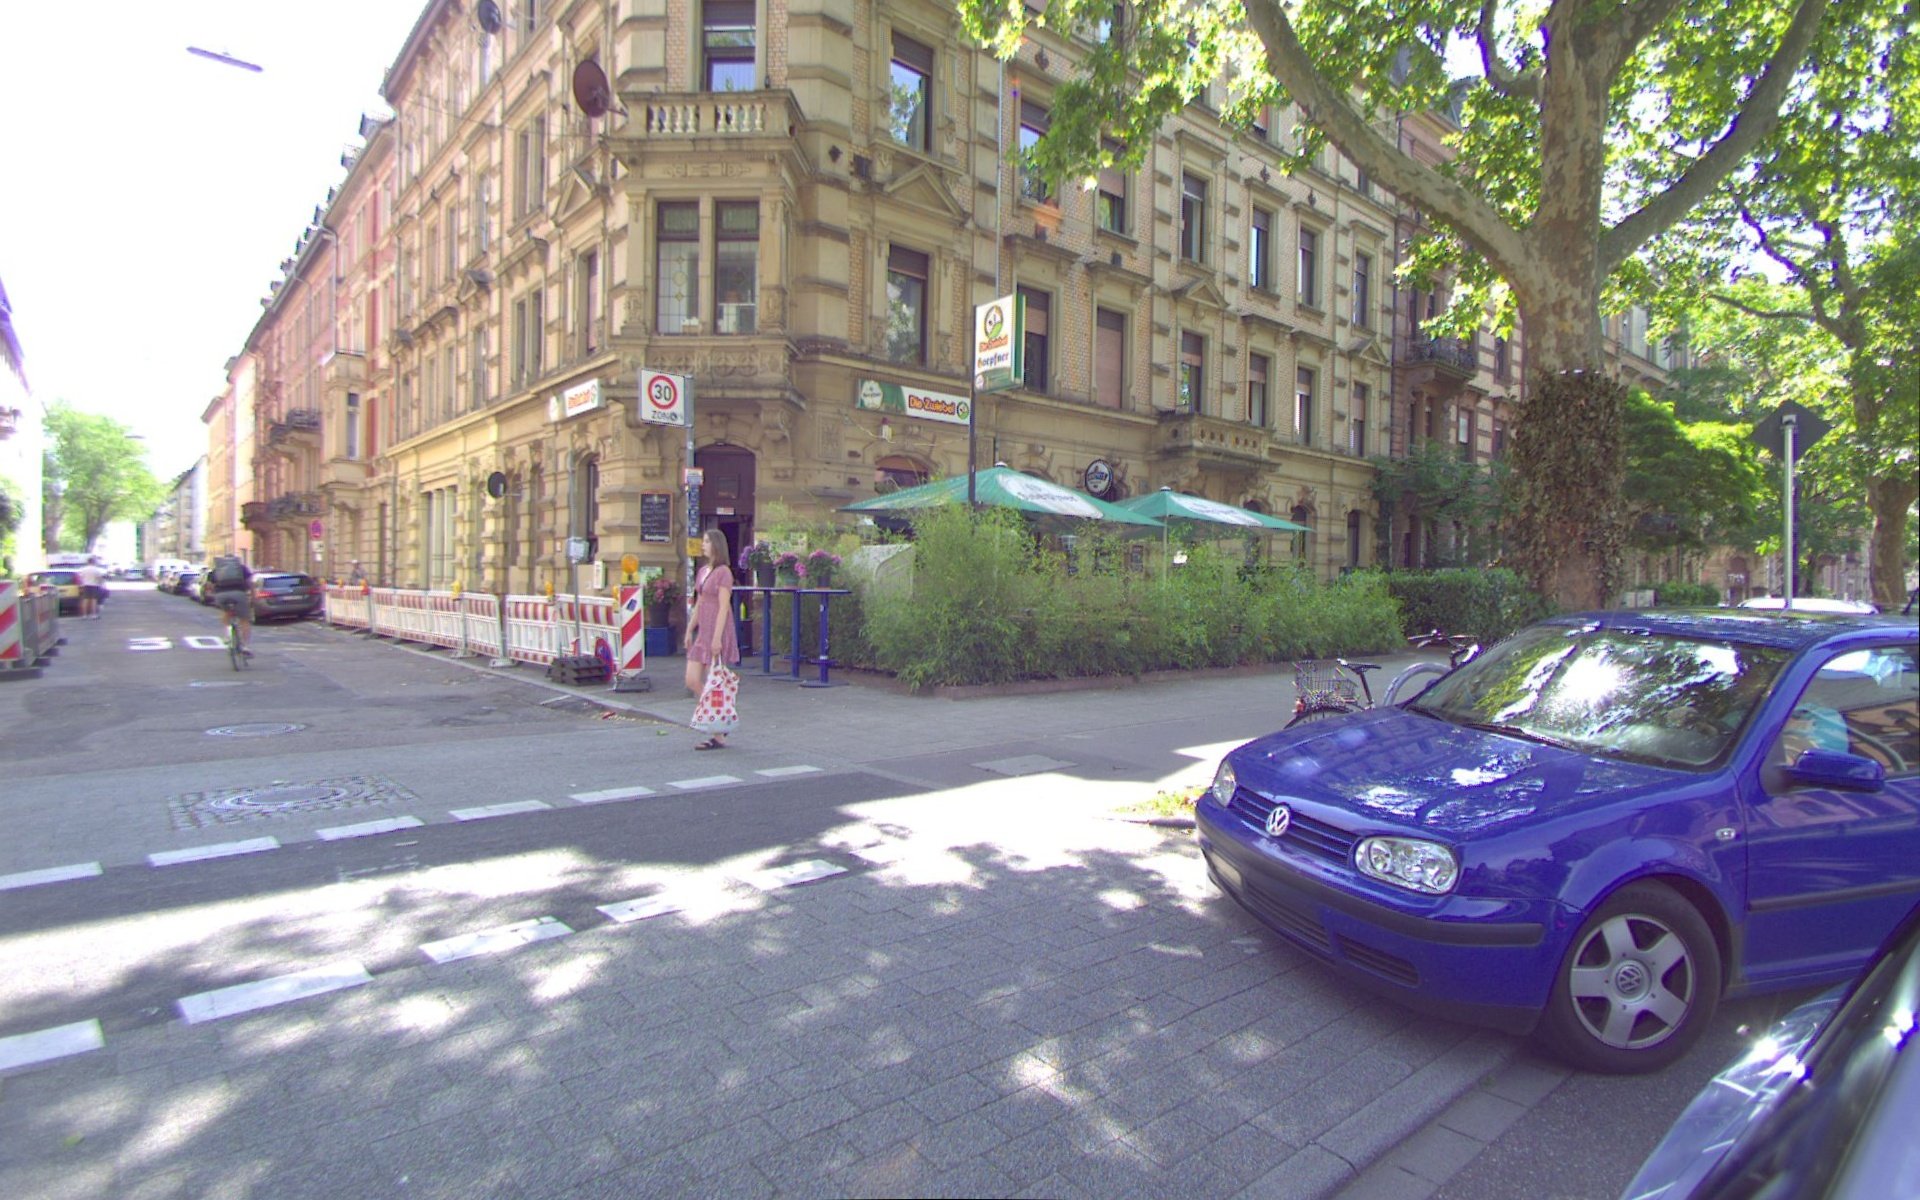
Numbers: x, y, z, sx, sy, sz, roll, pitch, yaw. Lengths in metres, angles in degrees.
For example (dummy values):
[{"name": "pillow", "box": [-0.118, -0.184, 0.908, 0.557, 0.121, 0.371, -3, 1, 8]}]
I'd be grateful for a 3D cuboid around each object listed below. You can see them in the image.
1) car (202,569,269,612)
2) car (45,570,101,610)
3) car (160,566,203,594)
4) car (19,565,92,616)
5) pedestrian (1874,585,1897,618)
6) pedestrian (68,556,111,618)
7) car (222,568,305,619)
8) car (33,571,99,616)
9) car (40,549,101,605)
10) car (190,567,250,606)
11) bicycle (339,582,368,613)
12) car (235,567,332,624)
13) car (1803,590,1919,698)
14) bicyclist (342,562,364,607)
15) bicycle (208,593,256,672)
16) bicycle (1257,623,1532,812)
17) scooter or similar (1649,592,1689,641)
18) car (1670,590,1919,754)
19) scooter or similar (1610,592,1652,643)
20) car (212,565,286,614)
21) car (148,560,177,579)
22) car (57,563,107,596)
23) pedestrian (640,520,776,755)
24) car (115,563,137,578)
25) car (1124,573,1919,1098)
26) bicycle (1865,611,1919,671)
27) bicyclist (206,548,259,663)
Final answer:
[{"name": "car", "box": [-30.751, -0.434, 42.912, 1.965, 1.760, 3.995, 0, 1, -41]}, {"name": "car", "box": [-36.767, -0.441, 41.974, 1.698, 1.548, 3.489, 0, 1, -41]}, {"name": "car", "box": [-49.730, -1.279, 64.614, 1.965, 1.760, 3.995, 0, 1, -41]}, {"name": "car", "box": [-29.414, -0.331, 32.962, 1.698, 1.548, 3.489, 0, 1, -41]}, {"name": "pedestrian", "box": [50.855, 0.073, 55.598, 0.951, 1.740, 0.796, 0, 1, -41]}, {"name": "pedestrian", "box": [-26.244, -0.393, 30.505, 0.921, 1.821, 1.036, 0, 1, -44]}, {"name": "car", "box": [-24.072, -0.254, 34.922, 1.965, 1.660, 3.995, 0, 1, -41]}, {"name": "car", "box": [-32.229, -0.261, 36.511, 1.698, 1.548, 3.489, 0, 1, -42]}, {"name": "car", "box": [-40.198, -1.029, 45.792, 1.879, 2.403, 4.244, 0, 1, -39]}, {"name": "car", "box": [-34.847, -0.644, 47.621, 1.965, 1.760, 3.995, 0, 1, -41]}, {"name": "bicycle", "box": [-19.915, -0.093, 33.211, 0.530, 0.991, 1.306, 0, 1, -44]}, {"name": "car", "box": [-20.155, -0.174, 30.091, 1.965, 1.571, 3.995, 0, 1, -41]}, {"name": "car", "box": [15.323, 0.635, 16.360, 4.561, 1.527, 1.837, 0, 2, -40]}, {"name": "bicyclist", "box": [-19.944, -0.514, 33.246, 0.524, 1.471, 0.460, 0, 1, -43]}, {"name": "bicycle", "box": [-10.878, 0.450, 15.104, 0.523, 1.062, 1.925, 0, 1, -37]}, {"name": "bicycle", "box": [2.730, 0.720, 6.390, 1.583, 1.119, 0.423, 1, 1, -8]}, {"name": "scooter or similar", "box": [19.201, 0.440, 27.394, 1.124, 1.298, 0.583, 0, 1, -39]}, {"name": "car", "box": [9.928, 0.671, 11.862, 4.418, 1.527, 1.835, 0, 2, -44]}, {"name": "scooter or similar", "box": [17.078, 0.429, 25.763, 1.124, 1.263, 0.583, 0, 1, -40]}, {"name": "car", "box": [-27.183, -0.430, 38.651, 1.965, 1.760, 3.995, 0, 1, -41]}, {"name": "car", "box": [-74.510, -2.835, 94.551, 1.965, 1.760, 3.995, 0, 1, -41]}, {"name": "car", "box": [-47.356, -1.107, 54.649, 1.879, 1.731, 4.158, 0, 1, -39]}, {"name": "pedestrian", "box": [-2.081, 0.279, 8.353, 0.837, 1.807, 0.737, 0, 1, -41]}, {"name": "car", "box": [-100.002, -3.500, 121.285, 1.965, 1.760, 3.995, 0, 1, -41]}, {"name": "car", "box": [2.955, 0.647, 4.274, 4.007, 1.427, 1.893, 0, 2, -16]}, {"name": "bicycle", "box": [18.105, 0.779, 18.984, 1.615, 1.102, 0.469, 1, 1, 17]}, {"name": "bicyclist", "box": [-10.780, 0.072, 14.993, 0.613, 1.643, 0.694, 0, 1, -38]}]
